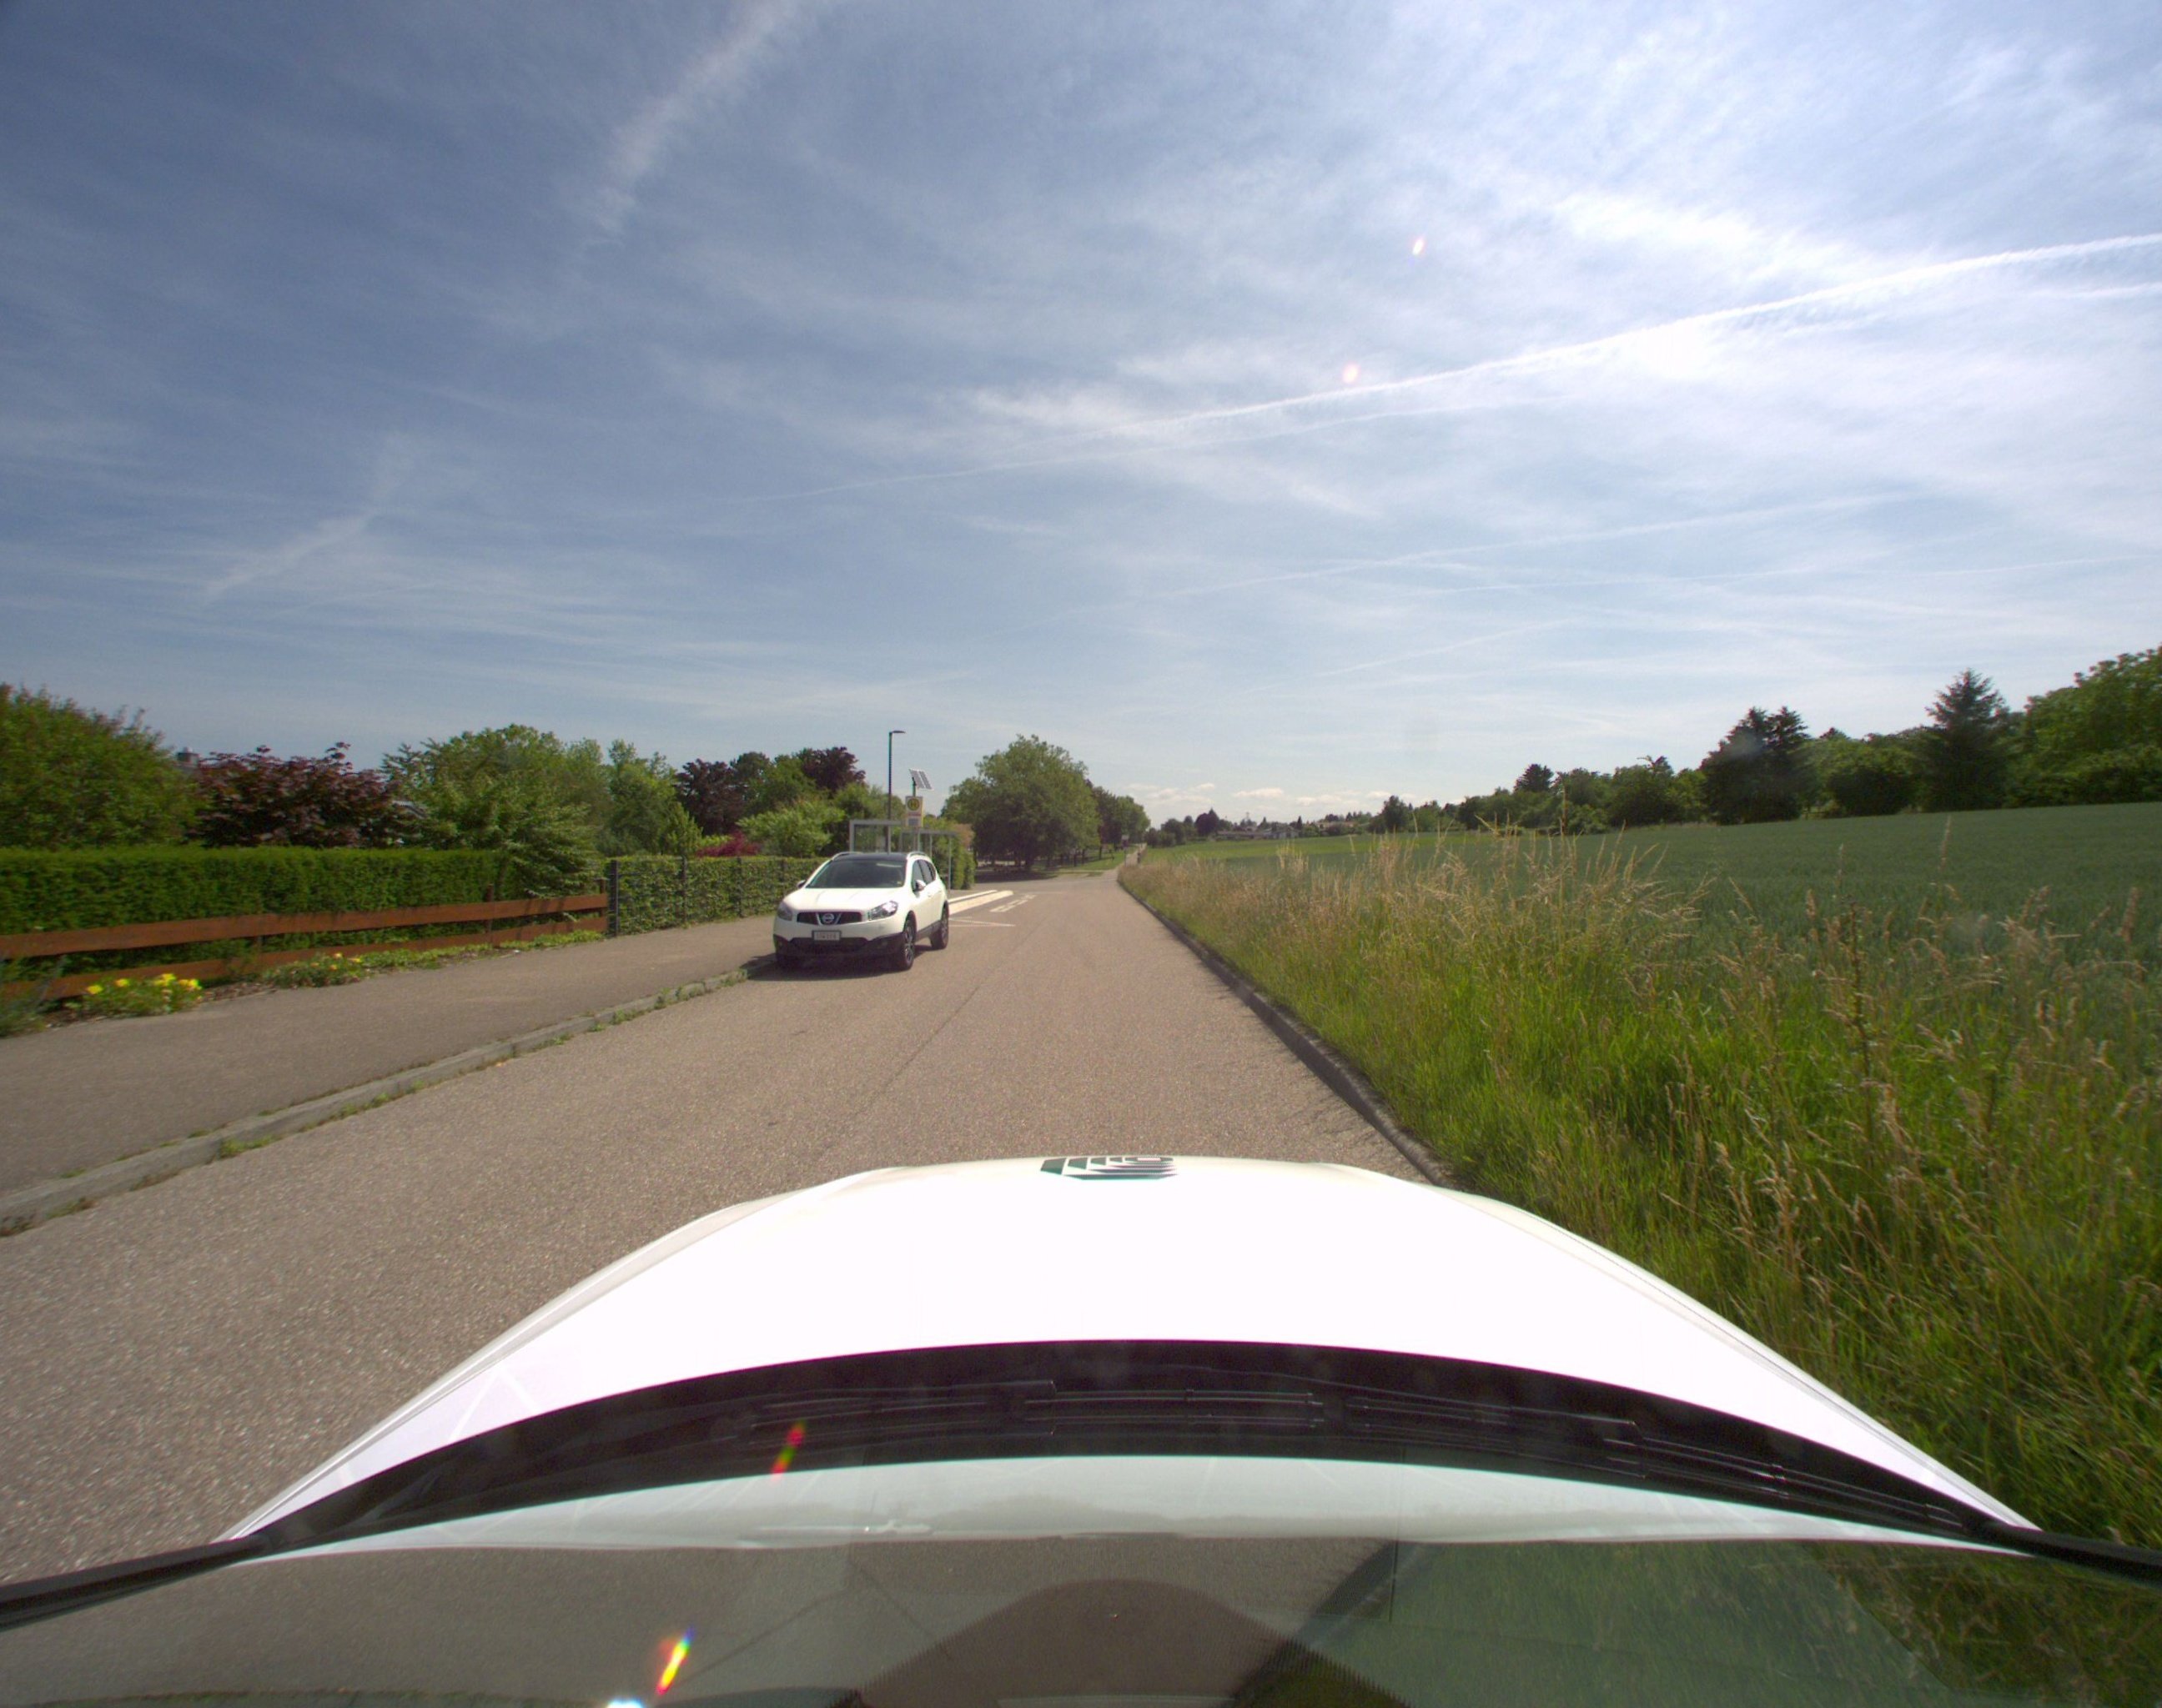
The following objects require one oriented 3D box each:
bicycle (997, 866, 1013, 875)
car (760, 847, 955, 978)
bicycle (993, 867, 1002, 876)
[{"bbox_3d":[-9.875,2.164,105.894,2.058,1.039,0.571,-2,0,-4],"label":"bicycle"},{"bbox_3d":[-3.149,0.755,12.407,1.728,1.633,4.352,0,-1,0],"label":"car"},{"bbox_3d":[-10.685,2.226,103.948,0.591,1.039,1.899,-2,0,12],"label":"bicycle"}]
